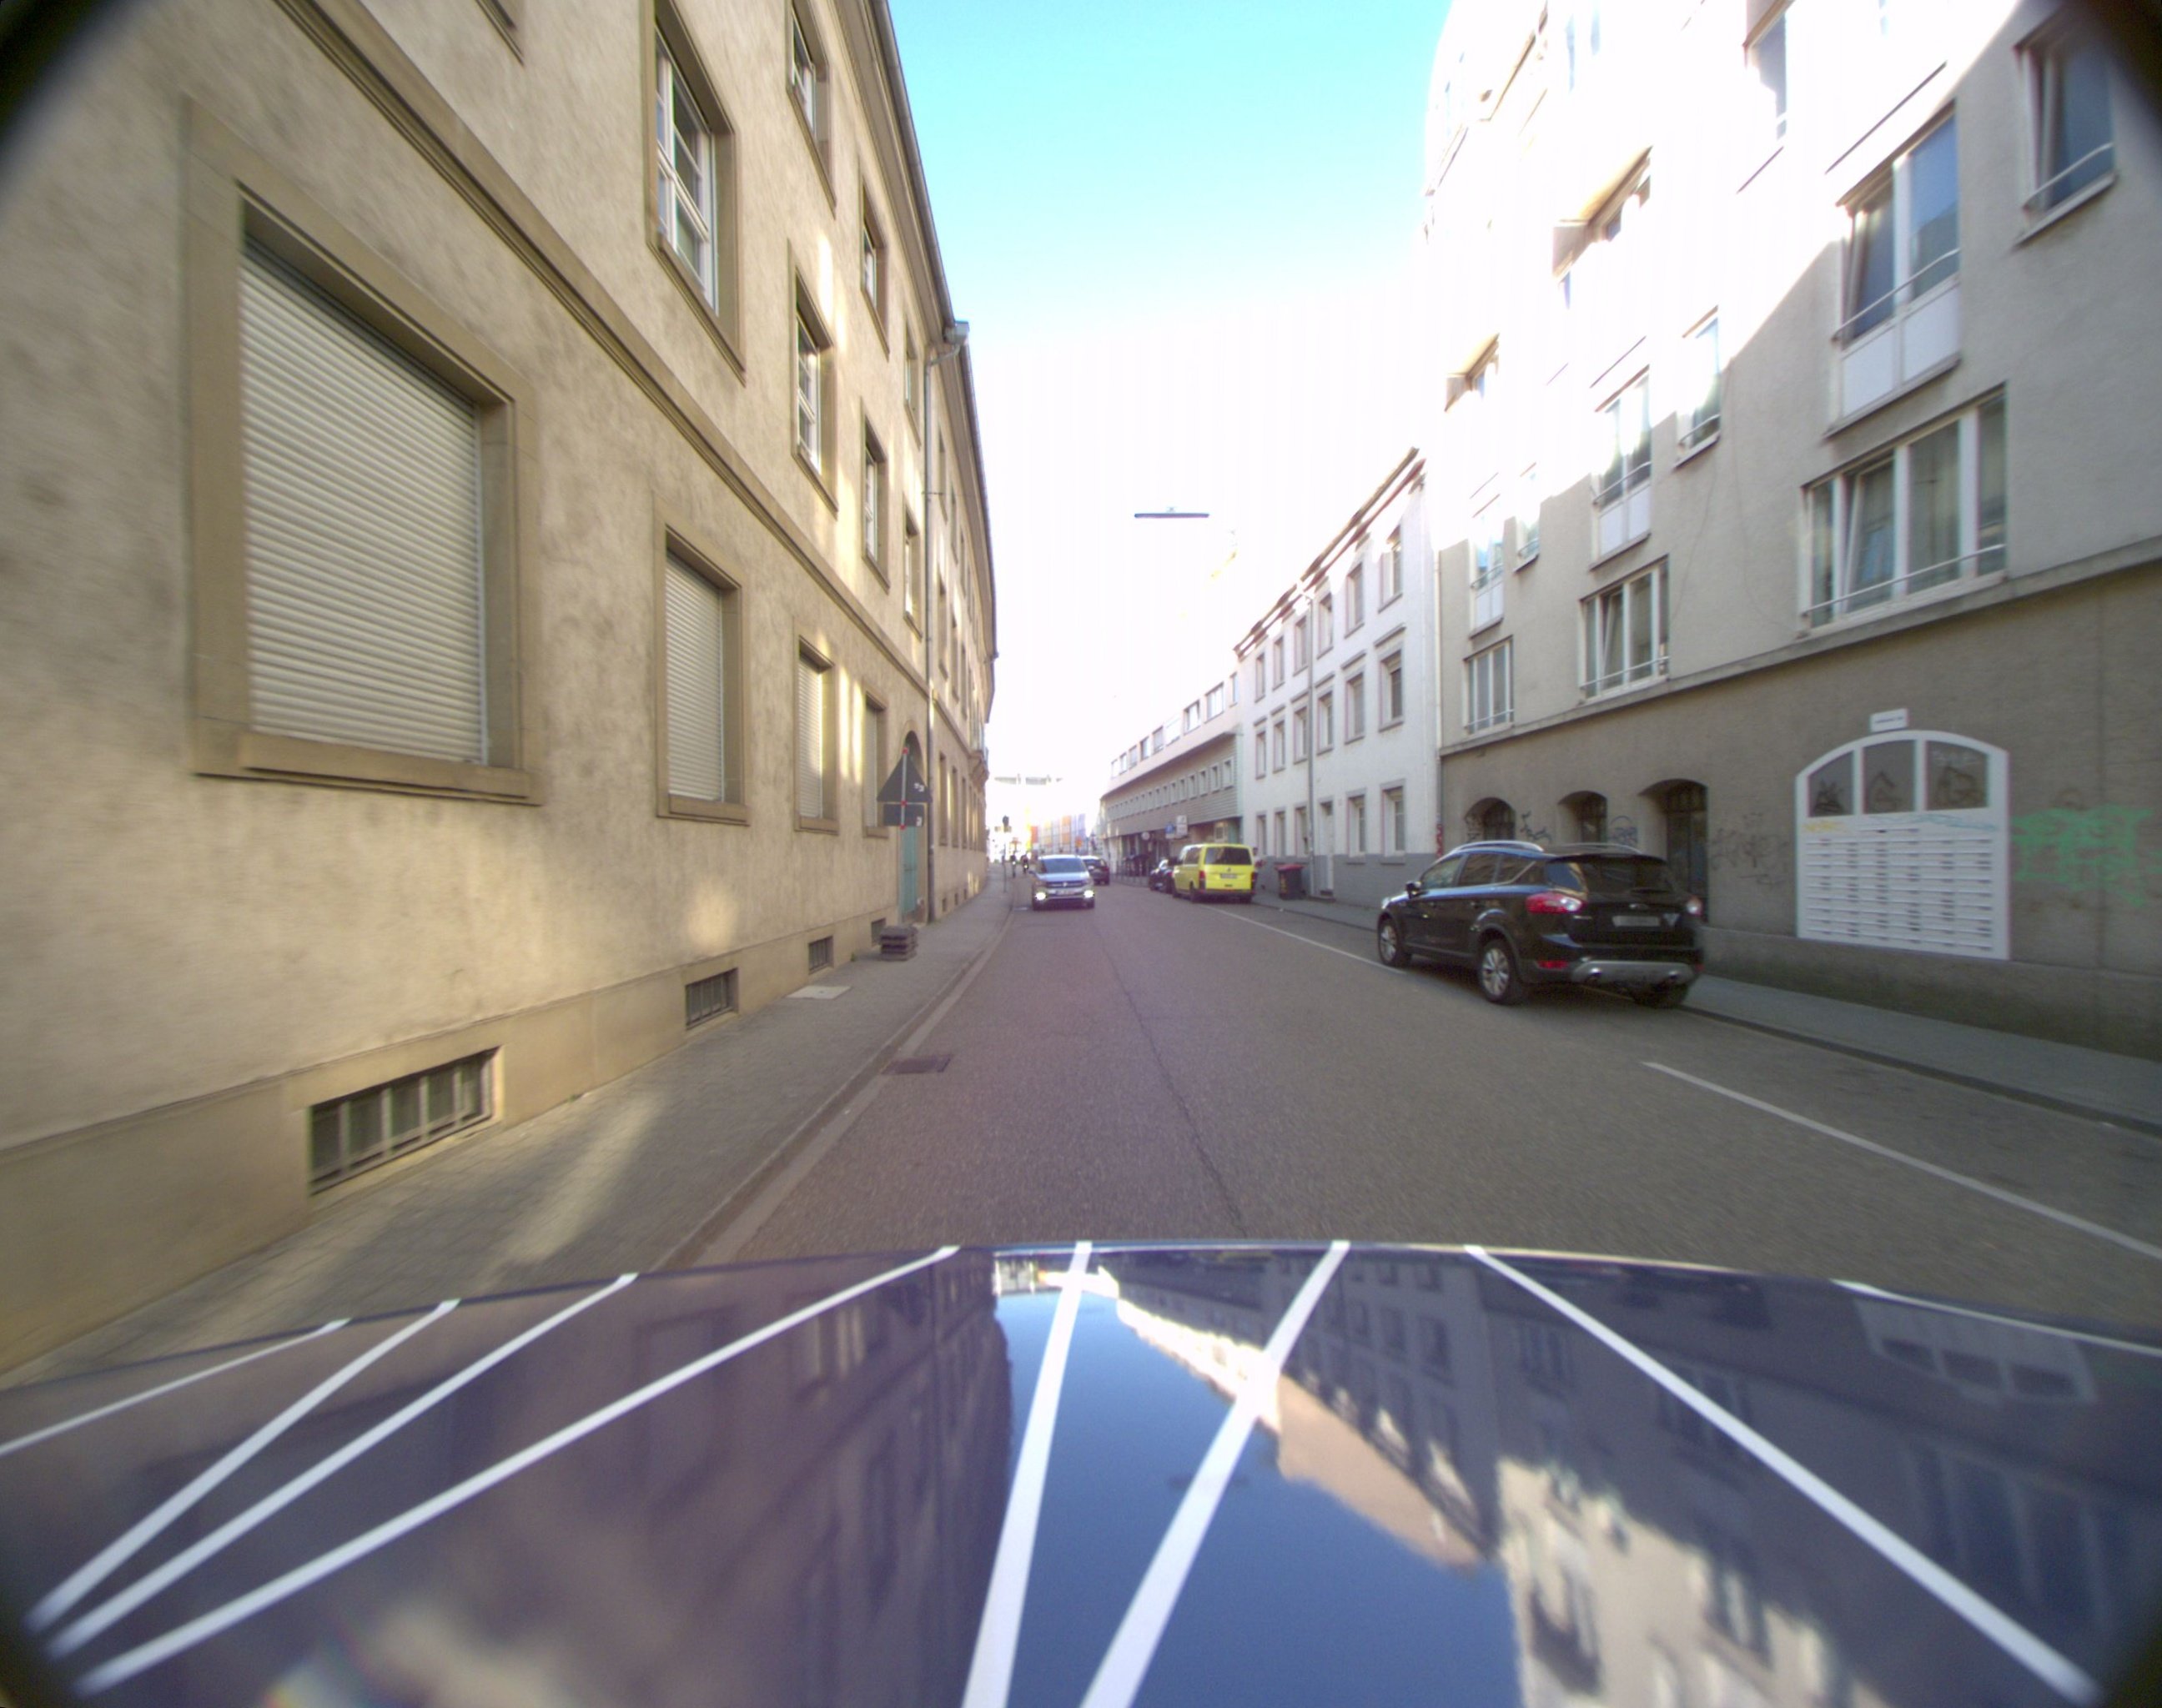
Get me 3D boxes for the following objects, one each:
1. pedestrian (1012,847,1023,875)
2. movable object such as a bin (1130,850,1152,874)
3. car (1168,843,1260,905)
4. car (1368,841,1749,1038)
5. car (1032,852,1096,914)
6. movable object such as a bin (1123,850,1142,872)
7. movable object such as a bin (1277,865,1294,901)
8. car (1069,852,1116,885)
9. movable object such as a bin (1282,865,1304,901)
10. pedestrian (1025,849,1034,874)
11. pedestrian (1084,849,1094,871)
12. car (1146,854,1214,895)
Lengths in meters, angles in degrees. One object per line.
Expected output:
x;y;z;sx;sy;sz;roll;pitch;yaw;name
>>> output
-4.509;0.503;53.822;0.678;1.928;0.857;-1;1;-9;pedestrian
3.913;0.504;49.628;1.126;1.511;1.341;-1;0;-8;movable object such as a bin
4.368;0.599;25.721;1.885;1.856;4.862;2;0;-4;car
5.031;0.754;8.848;1.744;1.701;4.190;2;0;0;car
-0.605;0.795;23.139;1.683;1.568;4.240;-4;1;-4;car
3.496;0.484;51.466;0.971;1.462;1.474;-1;-1;-8;movable object such as a bin
6.493;0.912;24.088;0.411;1.098;0.433;0;1;-2;movable object such as a bin
0.547;0.684;38.896;1.720;1.569;4.187;-1;0;-9;car
6.566;0.885;23.515;0.542;1.098;0.433;0;1;-2;movable object such as a bin
-3.692;0.552;54.467;0.603;1.770;0.651;-1;1;-9;pedestrian
0.591;0.467;57.619;0.494;1.660;0.627;-4;1;-20;pedestrian
3.990;0.797;31.177;1.824;1.477;4.074;2;0;-6;car
